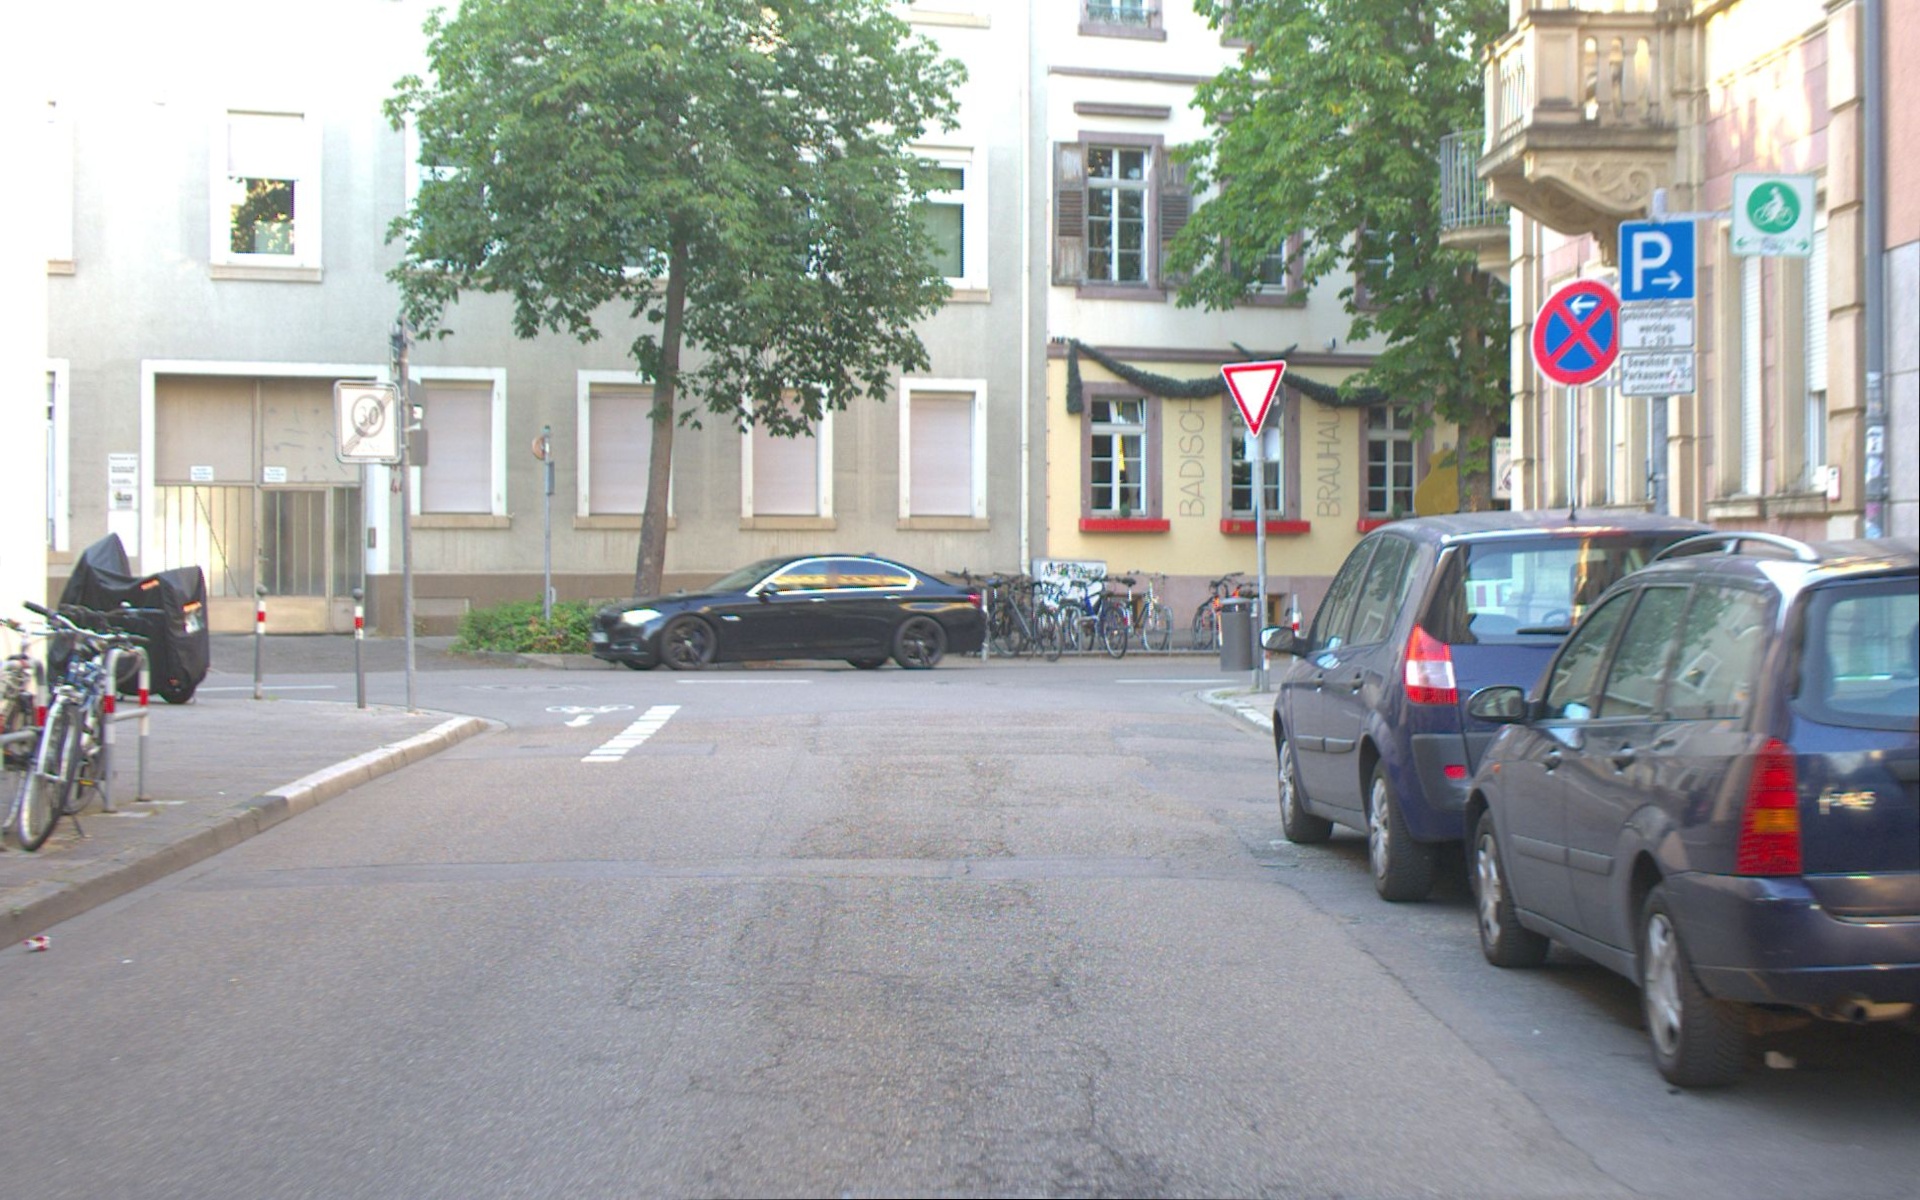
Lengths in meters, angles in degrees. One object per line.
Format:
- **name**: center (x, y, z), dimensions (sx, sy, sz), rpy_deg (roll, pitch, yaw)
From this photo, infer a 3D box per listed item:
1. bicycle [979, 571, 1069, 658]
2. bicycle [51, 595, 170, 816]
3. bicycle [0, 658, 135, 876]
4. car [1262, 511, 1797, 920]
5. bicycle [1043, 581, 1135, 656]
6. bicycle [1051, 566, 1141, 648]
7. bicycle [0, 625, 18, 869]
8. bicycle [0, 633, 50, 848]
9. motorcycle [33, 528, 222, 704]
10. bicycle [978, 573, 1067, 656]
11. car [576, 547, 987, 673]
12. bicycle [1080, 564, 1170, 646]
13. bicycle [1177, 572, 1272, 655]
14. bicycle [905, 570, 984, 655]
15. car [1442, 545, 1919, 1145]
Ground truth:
- **bicycle**: center (0.862, 0.188, 46.559), dimensions (0.445, 1.141, 2.043), rpy_deg (-1, 1, -22)
- **bicycle**: center (-4.543, 0.536, 18.449), dimensions (0.400, 1.098, 1.813), rpy_deg (0, 1, -7)
- **bicycle**: center (-4.283, 0.775, 16.567), dimensions (0.307, 0.929, 1.813), rpy_deg (0, 1, -4)
- **car**: center (2.435, 0.423, 15.642), dimensions (1.689, 1.619, 4.055), rpy_deg (0, 1, -1)
- **bicycle**: center (1.770, 0.242, 47.563), dimensions (0.420, 1.000, 2.043), rpy_deg (-1, 1, -24)
- **bicycle**: center (1.928, 0.092, 48.964), dimensions (0.420, 1.141, 2.043), rpy_deg (-1, 1, -24)
- **bicycle**: center (-4.272, 0.645, 14.097), dimensions (0.307, 1.039, 1.813), rpy_deg (0, 1, 0)
- **bicycle**: center (-4.569, 0.646, 16.157), dimensions (0.307, 0.929, 1.813), rpy_deg (0, 1, -7)
- **motorcycle**: center (-7.562, 0.130, 31.159), dimensions (0.667, 1.550, 2.161), rpy_deg (-1, 1, -43)
- **bicycle**: center (0.866, 0.190, 48.319), dimensions (0.420, 1.141, 2.043), rpy_deg (-1, 1, -24)
- **car**: center (-2.166, 0.096, 41.778), dimensions (4.651, 1.445, 1.768), rpy_deg (-1, 1, -22)
- **bicycle**: center (2.352, 0.061, 49.256), dimensions (0.420, 1.141, 2.043), rpy_deg (-1, 1, -24)
- **bicycle**: center (3.736, 0.180, 48.698), dimensions (0.420, 1.141, 2.043), rpy_deg (-1, 1, -24)
- **bicycle**: center (-0.223, 0.162, 48.001), dimensions (0.445, 1.141, 2.043), rpy_deg (-1, 1, -19)
- **car**: center (2.698, 0.583, 10.800), dimensions (1.689, 1.508, 4.283), rpy_deg (0, 1, -1)
